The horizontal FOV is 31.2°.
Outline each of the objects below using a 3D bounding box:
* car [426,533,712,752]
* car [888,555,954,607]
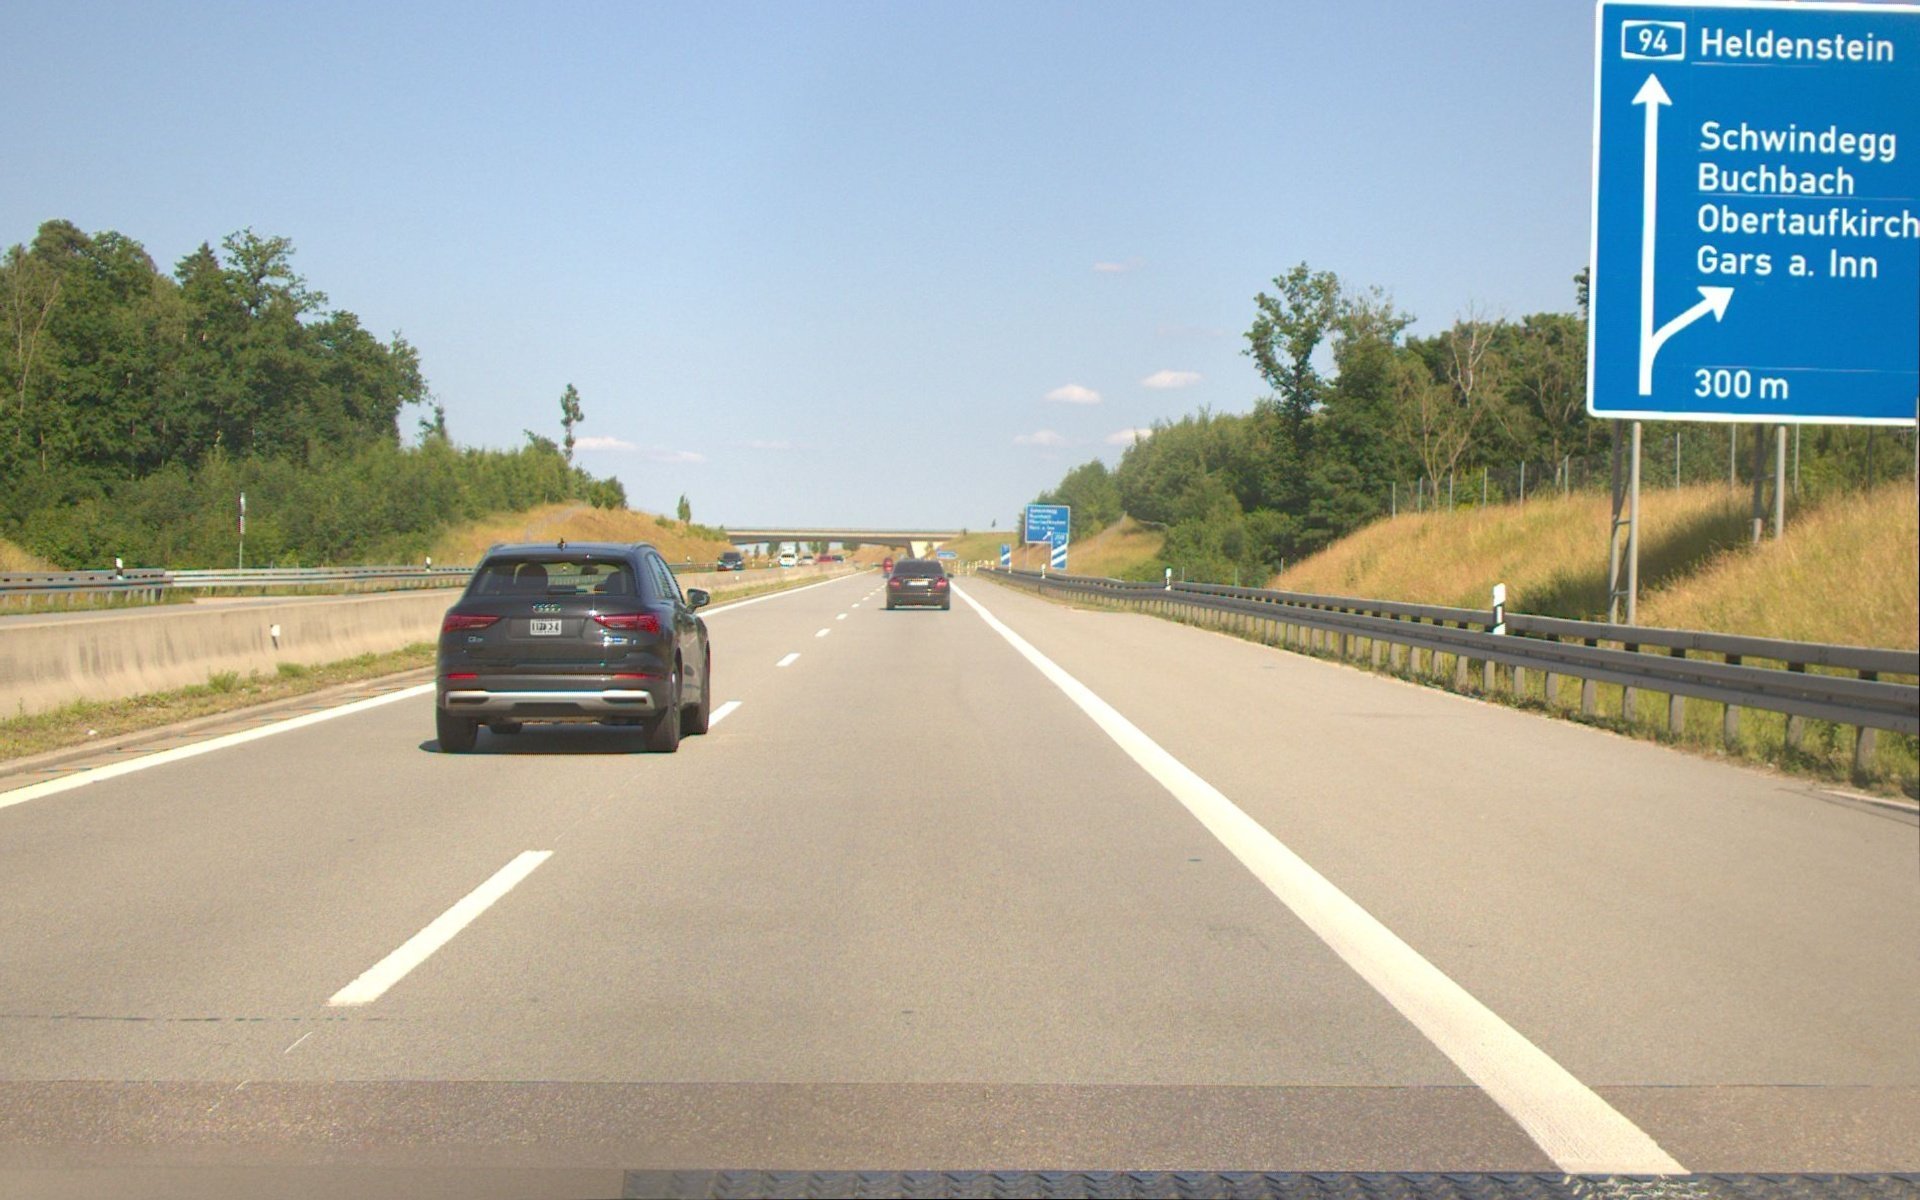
[{"bbox_3d":[-3.047,0.273,27.745,1.722,1.582,5.222,1,1,0],"label":"car"},{"bbox_3d":[-1.081,-0.535,95.870,1.790,1.369,3.917,1,1,0],"label":"car"}]
